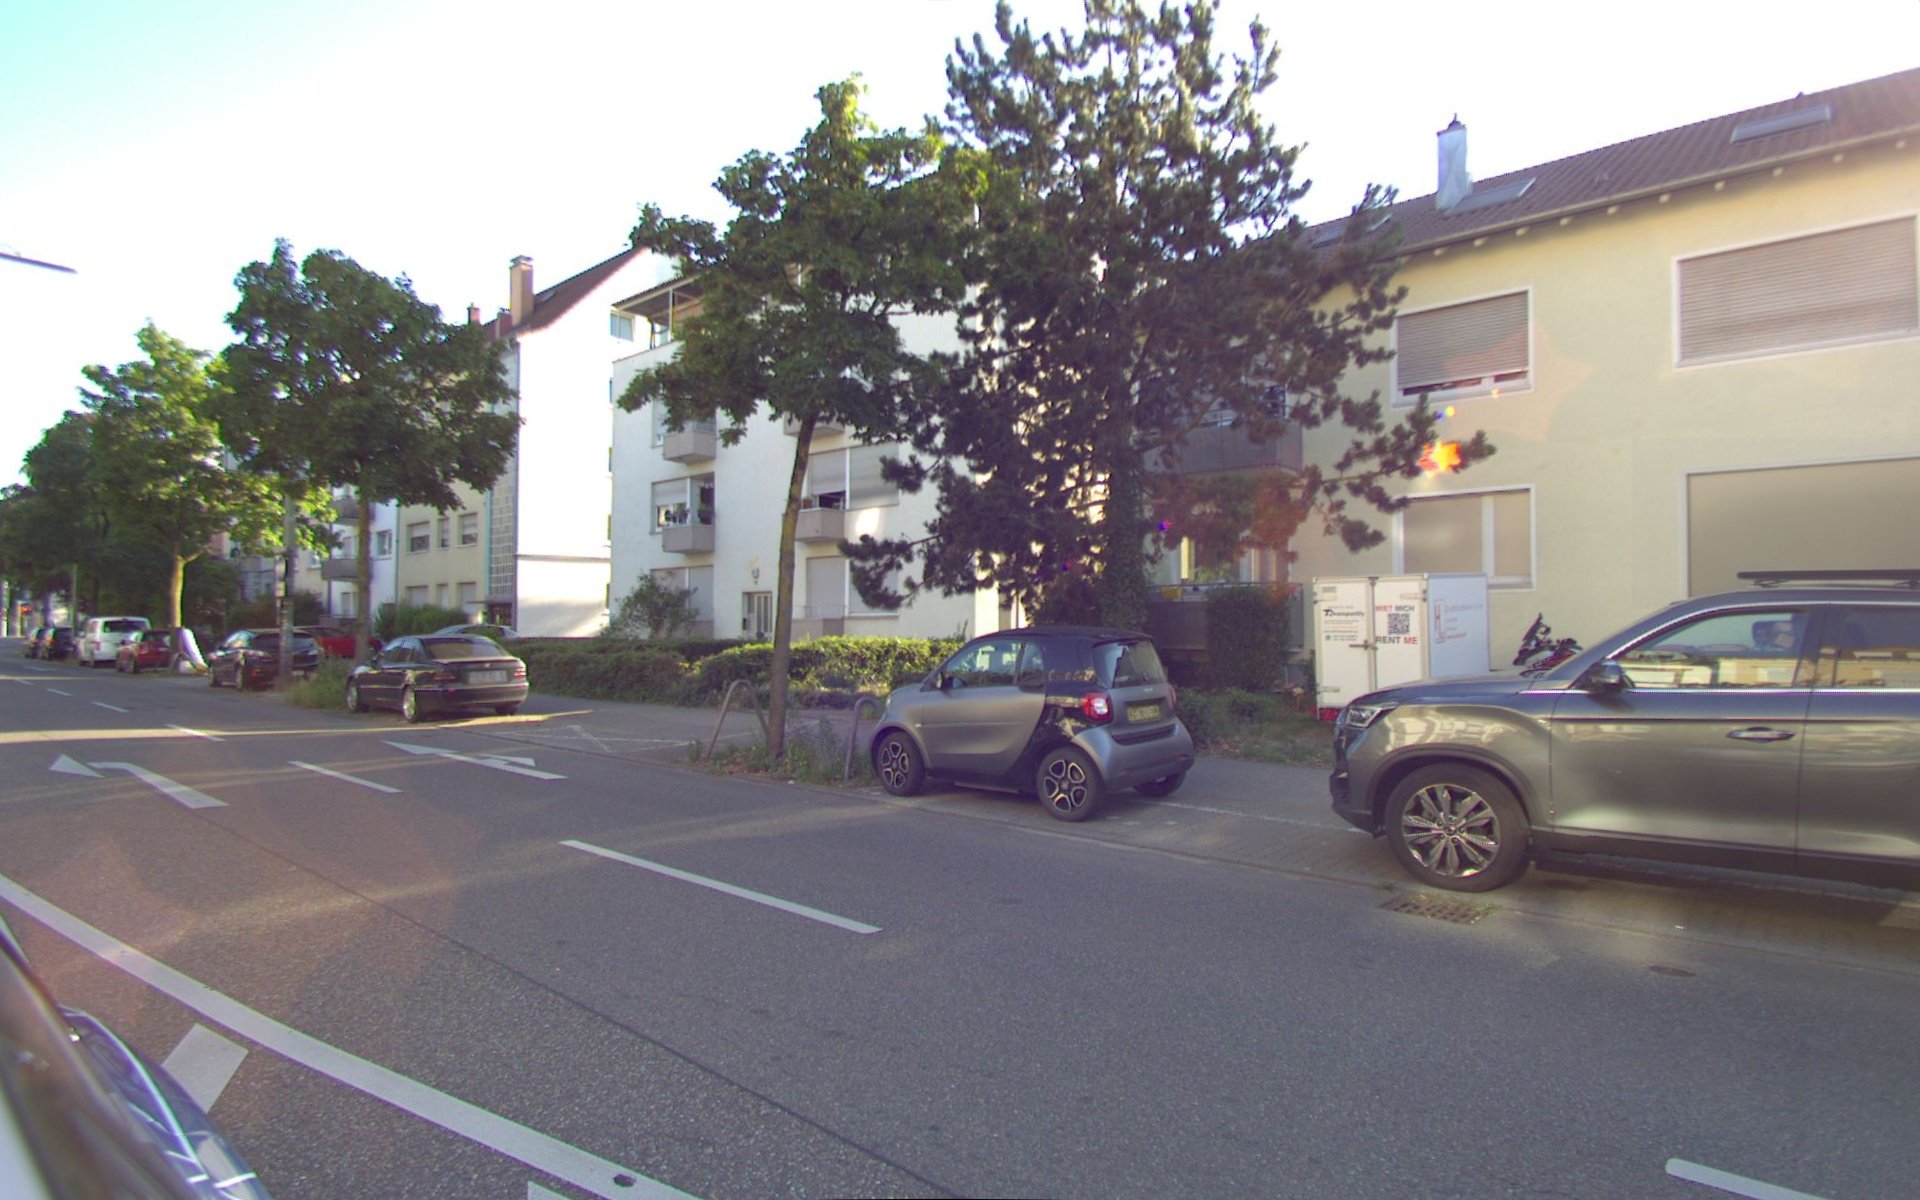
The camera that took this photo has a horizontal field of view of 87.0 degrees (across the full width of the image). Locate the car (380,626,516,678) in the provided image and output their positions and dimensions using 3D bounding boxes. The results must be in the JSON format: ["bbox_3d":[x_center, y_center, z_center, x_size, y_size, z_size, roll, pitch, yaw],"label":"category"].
[{"bbox_3d":[-16.012,1.610,31.726,1.686,1.535,3.422,-2,-3,42],"label":"car"}]

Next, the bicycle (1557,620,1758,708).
[{"bbox_3d":[9.751,0.865,14.222,2.257,1.149,0.564,-1,-2,41],"label":"bicycle"}]

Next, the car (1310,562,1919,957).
[{"bbox_3d":[4.627,0.755,5.622,4.722,1.793,1.868,-1,-2,40],"label":"car"}]

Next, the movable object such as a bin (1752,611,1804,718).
[{"bbox_3d":[10.803,0.842,13.367,0.486,1.369,0.475,-2,-3,42],"label":"movable object such as a bin"}]

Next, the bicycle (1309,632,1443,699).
[{"bbox_3d":[7.021,1.084,17.166,2.045,1.072,0.513,-1,-2,41],"label":"bicycle"}]

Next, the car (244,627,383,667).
[{"bbox_3d":[-26.372,1.872,41.437,1.735,1.416,4.516,-1,0,31],"label":"car"}]

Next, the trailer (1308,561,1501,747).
[{"bbox_3d":[5.605,0.645,12.640,1.551,2.029,2.746,-1,-3,39],"label":"trailer"}]

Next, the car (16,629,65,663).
[{"bbox_3d":[-43.478,2.131,47.810,3.682,1.475,1.388,-1,0,43],"label":"car"}]

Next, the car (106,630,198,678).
[{"bbox_3d":[-26.464,1.712,33.119,3.634,1.475,1.717,-1,-2,41],"label":"car"}]

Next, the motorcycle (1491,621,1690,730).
[{"bbox_3d":[8.630,0.998,13.943,2.257,1.384,0.564,-1,-3,41],"label":"motorcycle"}]

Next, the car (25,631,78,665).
[{"bbox_3d":[-40.302,2.096,44.869,3.682,1.416,1.388,-1,0,43],"label":"car"}]

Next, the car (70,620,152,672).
[{"bbox_3d":[-31.724,1.681,37.787,4.190,1.823,1.717,-1,-2,41],"label":"car"}]

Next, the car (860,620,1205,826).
[{"bbox_3d":[0.608,0.977,9.185,2.747,1.567,1.557,-1,-2,40],"label":"car"}]

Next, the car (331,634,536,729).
[{"bbox_3d":[-9.162,1.306,17.455,4.441,1.418,1.620,-1,-2,41],"label":"car"}]

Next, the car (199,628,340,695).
[{"bbox_3d":[-16.953,1.454,24.777,3.997,1.497,1.838,-2,-3,40],"label":"car"}]
